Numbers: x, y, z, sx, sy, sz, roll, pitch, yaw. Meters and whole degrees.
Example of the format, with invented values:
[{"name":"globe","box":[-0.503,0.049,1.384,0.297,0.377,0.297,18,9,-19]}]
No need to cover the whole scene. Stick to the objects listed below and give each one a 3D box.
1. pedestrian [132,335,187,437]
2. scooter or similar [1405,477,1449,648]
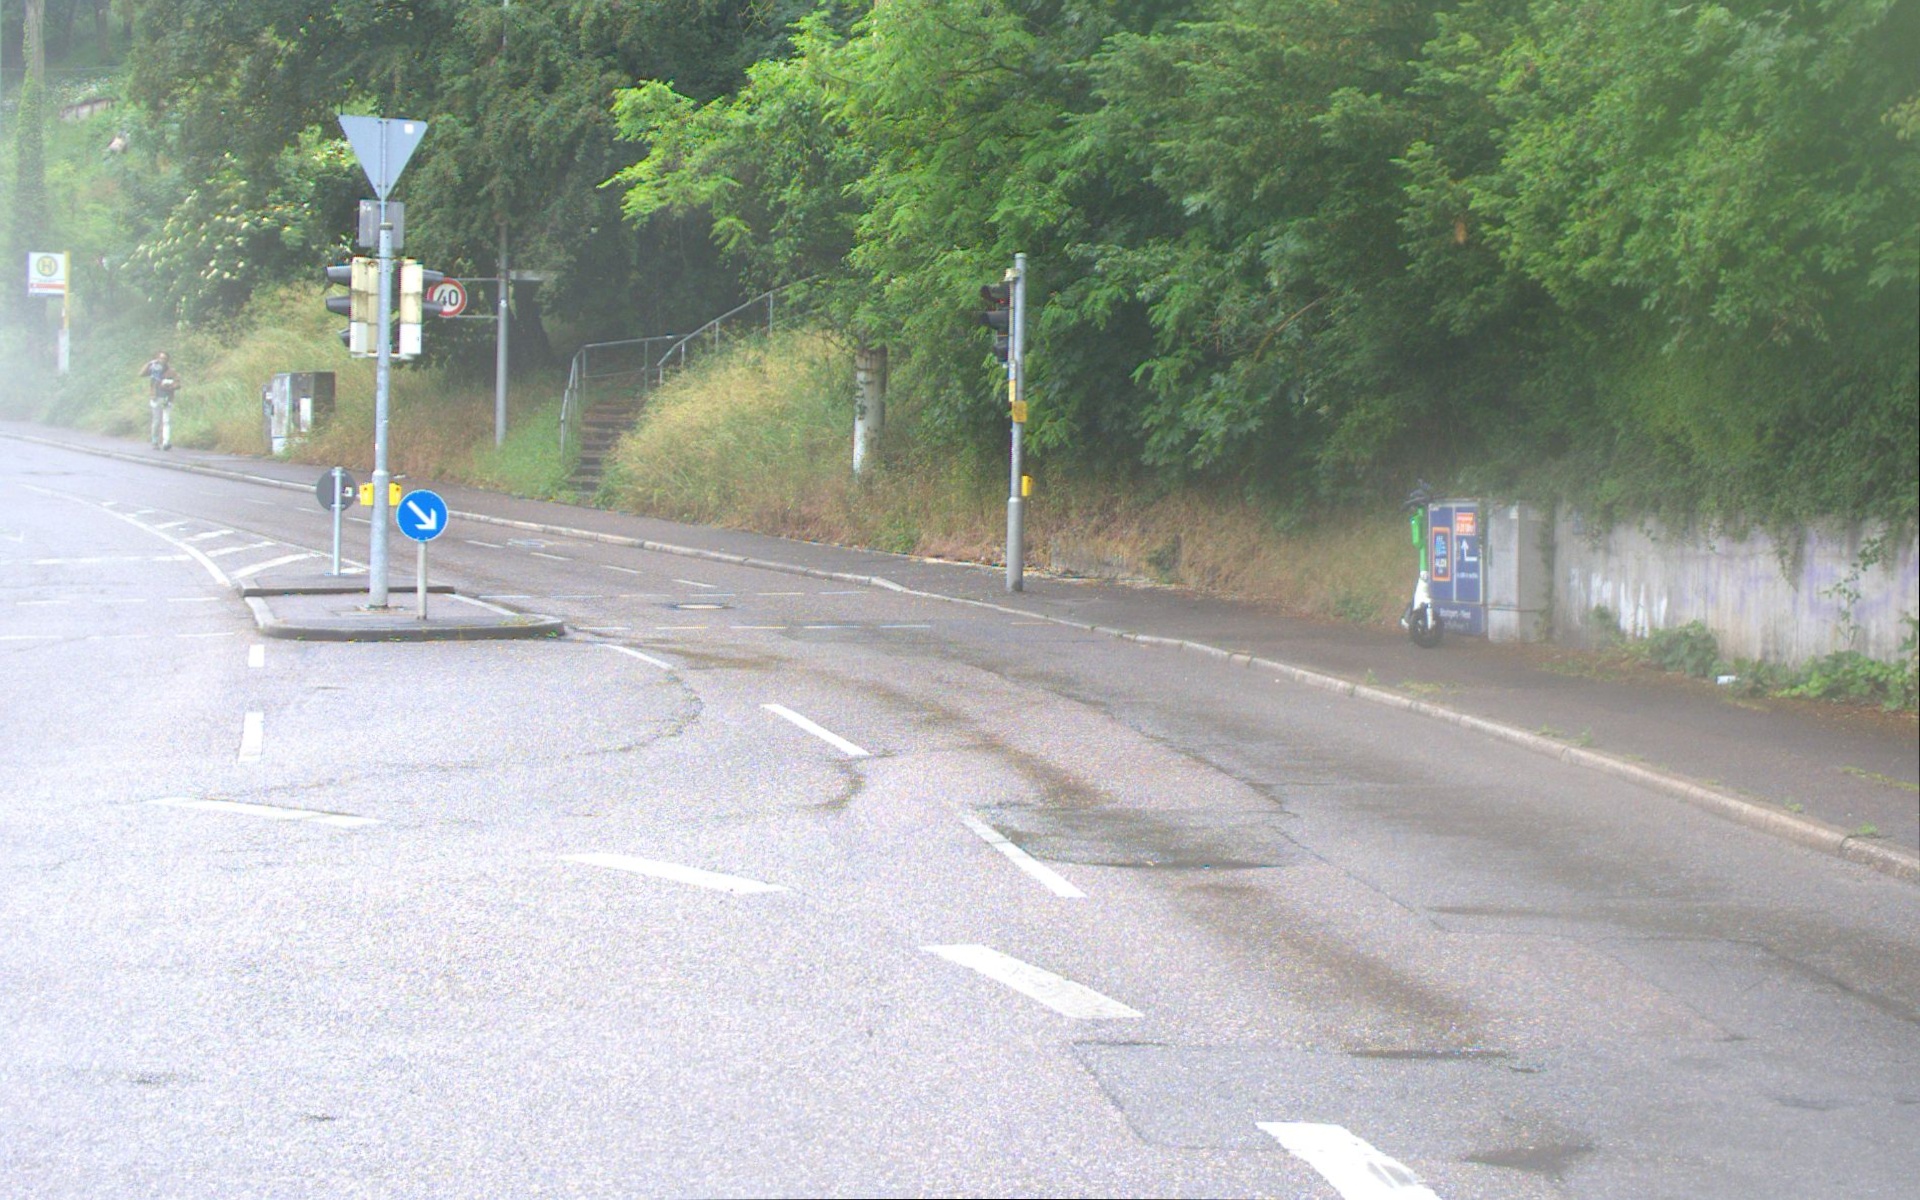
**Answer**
[{"name":"pedestrian","box":[-14.136,-3.763,60.683,0.880,1.730,0.866,0,0,-17]},{"name":"scooter or similar","box":[3.592,-0.297,26.466,0.322,1.275,0.751,0,4,7]}]
